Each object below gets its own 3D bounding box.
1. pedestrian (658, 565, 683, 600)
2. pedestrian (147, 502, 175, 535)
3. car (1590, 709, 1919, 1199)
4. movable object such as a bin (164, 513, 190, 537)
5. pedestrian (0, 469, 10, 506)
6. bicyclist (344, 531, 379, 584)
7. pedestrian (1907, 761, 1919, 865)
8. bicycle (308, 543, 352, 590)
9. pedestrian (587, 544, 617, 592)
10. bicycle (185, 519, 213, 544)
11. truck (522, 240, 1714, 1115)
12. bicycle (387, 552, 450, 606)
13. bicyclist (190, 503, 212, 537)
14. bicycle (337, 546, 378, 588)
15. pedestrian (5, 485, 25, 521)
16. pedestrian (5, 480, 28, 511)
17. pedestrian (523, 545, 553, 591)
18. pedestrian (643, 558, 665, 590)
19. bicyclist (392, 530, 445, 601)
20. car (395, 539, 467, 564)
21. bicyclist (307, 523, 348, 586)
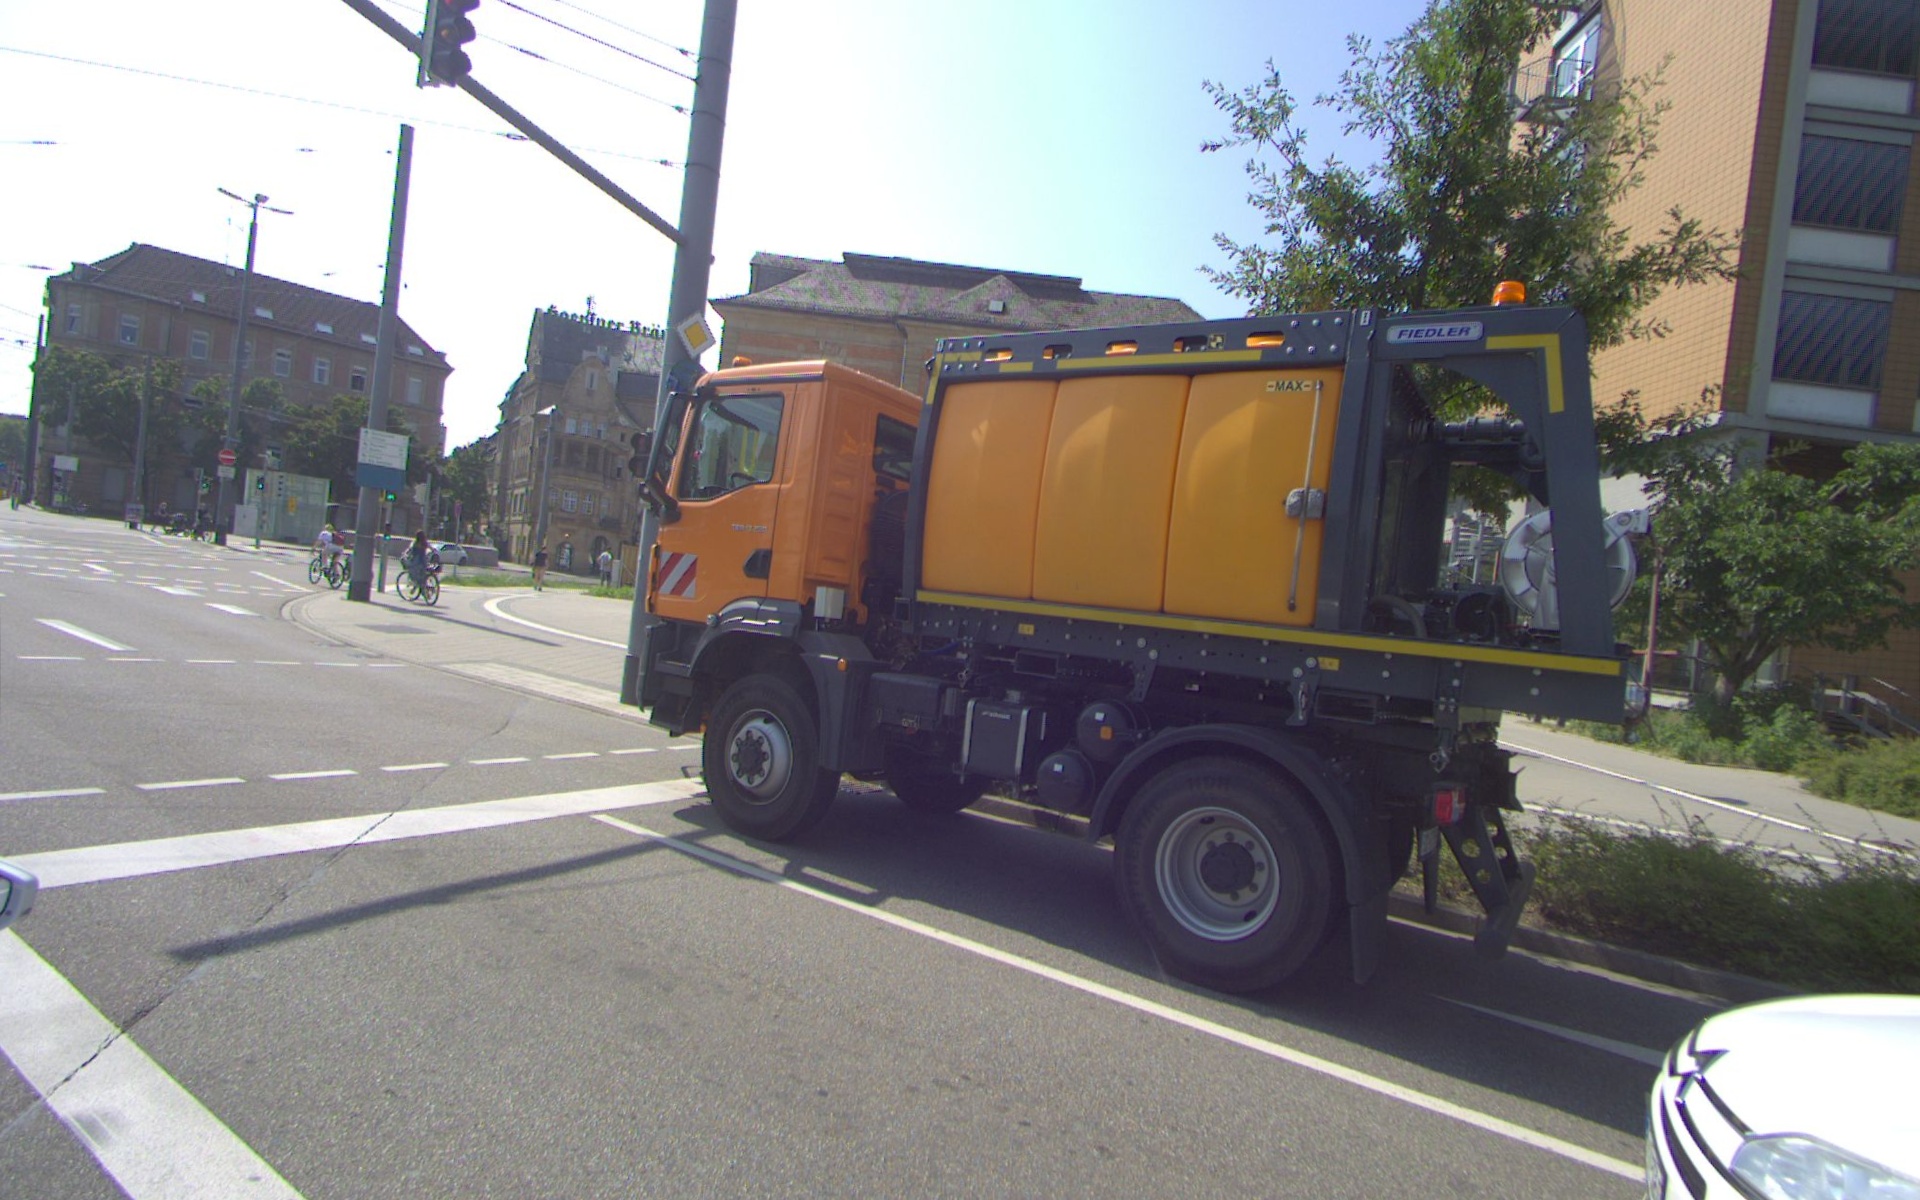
[{"bbox_3d":[-12.499,-0.764,43.448,0.679,1.417,0.767,7,1,7],"label":"pedestrian"},{"bbox_3d":[-40.907,-4.158,51.504,0.519,1.564,0.852,7,1,24],"label":"pedestrian"},{"bbox_3d":[3.383,1.202,1.009,4.534,1.446,1.770,7,0,33],"label":"car"},{"bbox_3d":[-40.254,-3.858,51.727,0.502,1.091,0.815,7,1,22],"label":"movable object such as a bin"},{"bbox_3d":[-82.510,-9.713,86.372,0.960,3.055,0.983,7,1,38],"label":"pedestrian"},{"bbox_3d":[-17.162,-1.216,28.833,0.882,1.410,0.529,7,1,44],"label":"bicyclist"},{"bbox_3d":[9.726,1.747,9.542,0.792,1.720,0.671,7,1,32],"label":"pedestrian"},{"bbox_3d":[-16.310,-0.884,26.019,1.632,1.068,0.535,7,1,45],"label":"bicycle"},{"bbox_3d":[-13.829,-1.220,38.867,0.808,1.746,0.546,7,1,-9],"label":"pedestrian"},{"bbox_3d":[-37.275,-3.375,49.266,1.626,1.068,0.469,7,1,33],"label":"bicycle"},{"bbox_3d":[0.417,0.071,6.555,6.751,3.172,2.494,7,-1,34],"label":"truck"},{"bbox_3d":[-12.555,-0.504,23.321,1.795,1.068,0.492,7,1,37],"label":"bicycle"},{"bbox_3d":[-37.144,-3.931,49.251,0.513,1.548,0.612,7,1,33],"label":"bicyclist"},{"bbox_3d":[-17.460,-0.976,29.133,1.632,1.068,0.535,7,1,45],"label":"bicycle"},{"bbox_3d":[-85.086,-8.763,90.590,0.959,3.055,0.983,7,1,36],"label":"pedestrian"},{"bbox_3d":[-52.591,-5.817,56.071,0.562,1.623,0.701,7,1,24],"label":"pedestrian"},{"bbox_3d":[-15.340,-1.157,36.560,0.727,1.595,0.787,6,1,-14],"label":"pedestrian"},{"bbox_3d":[-12.690,-1.075,41.657,0.659,1.229,0.523,6,1,-30],"label":"pedestrian"},{"bbox_3d":[-12.571,-0.805,23.363,0.653,1.537,0.734,7,1,36],"label":"bicyclist"},{"bbox_3d":[-33.304,-3.021,63.441,1.962,1.103,4.002,7,0,9],"label":"car"},{"bbox_3d":[-16.443,-1.183,26.143,0.702,1.537,0.626,7,1,44],"label":"bicyclist"}]
